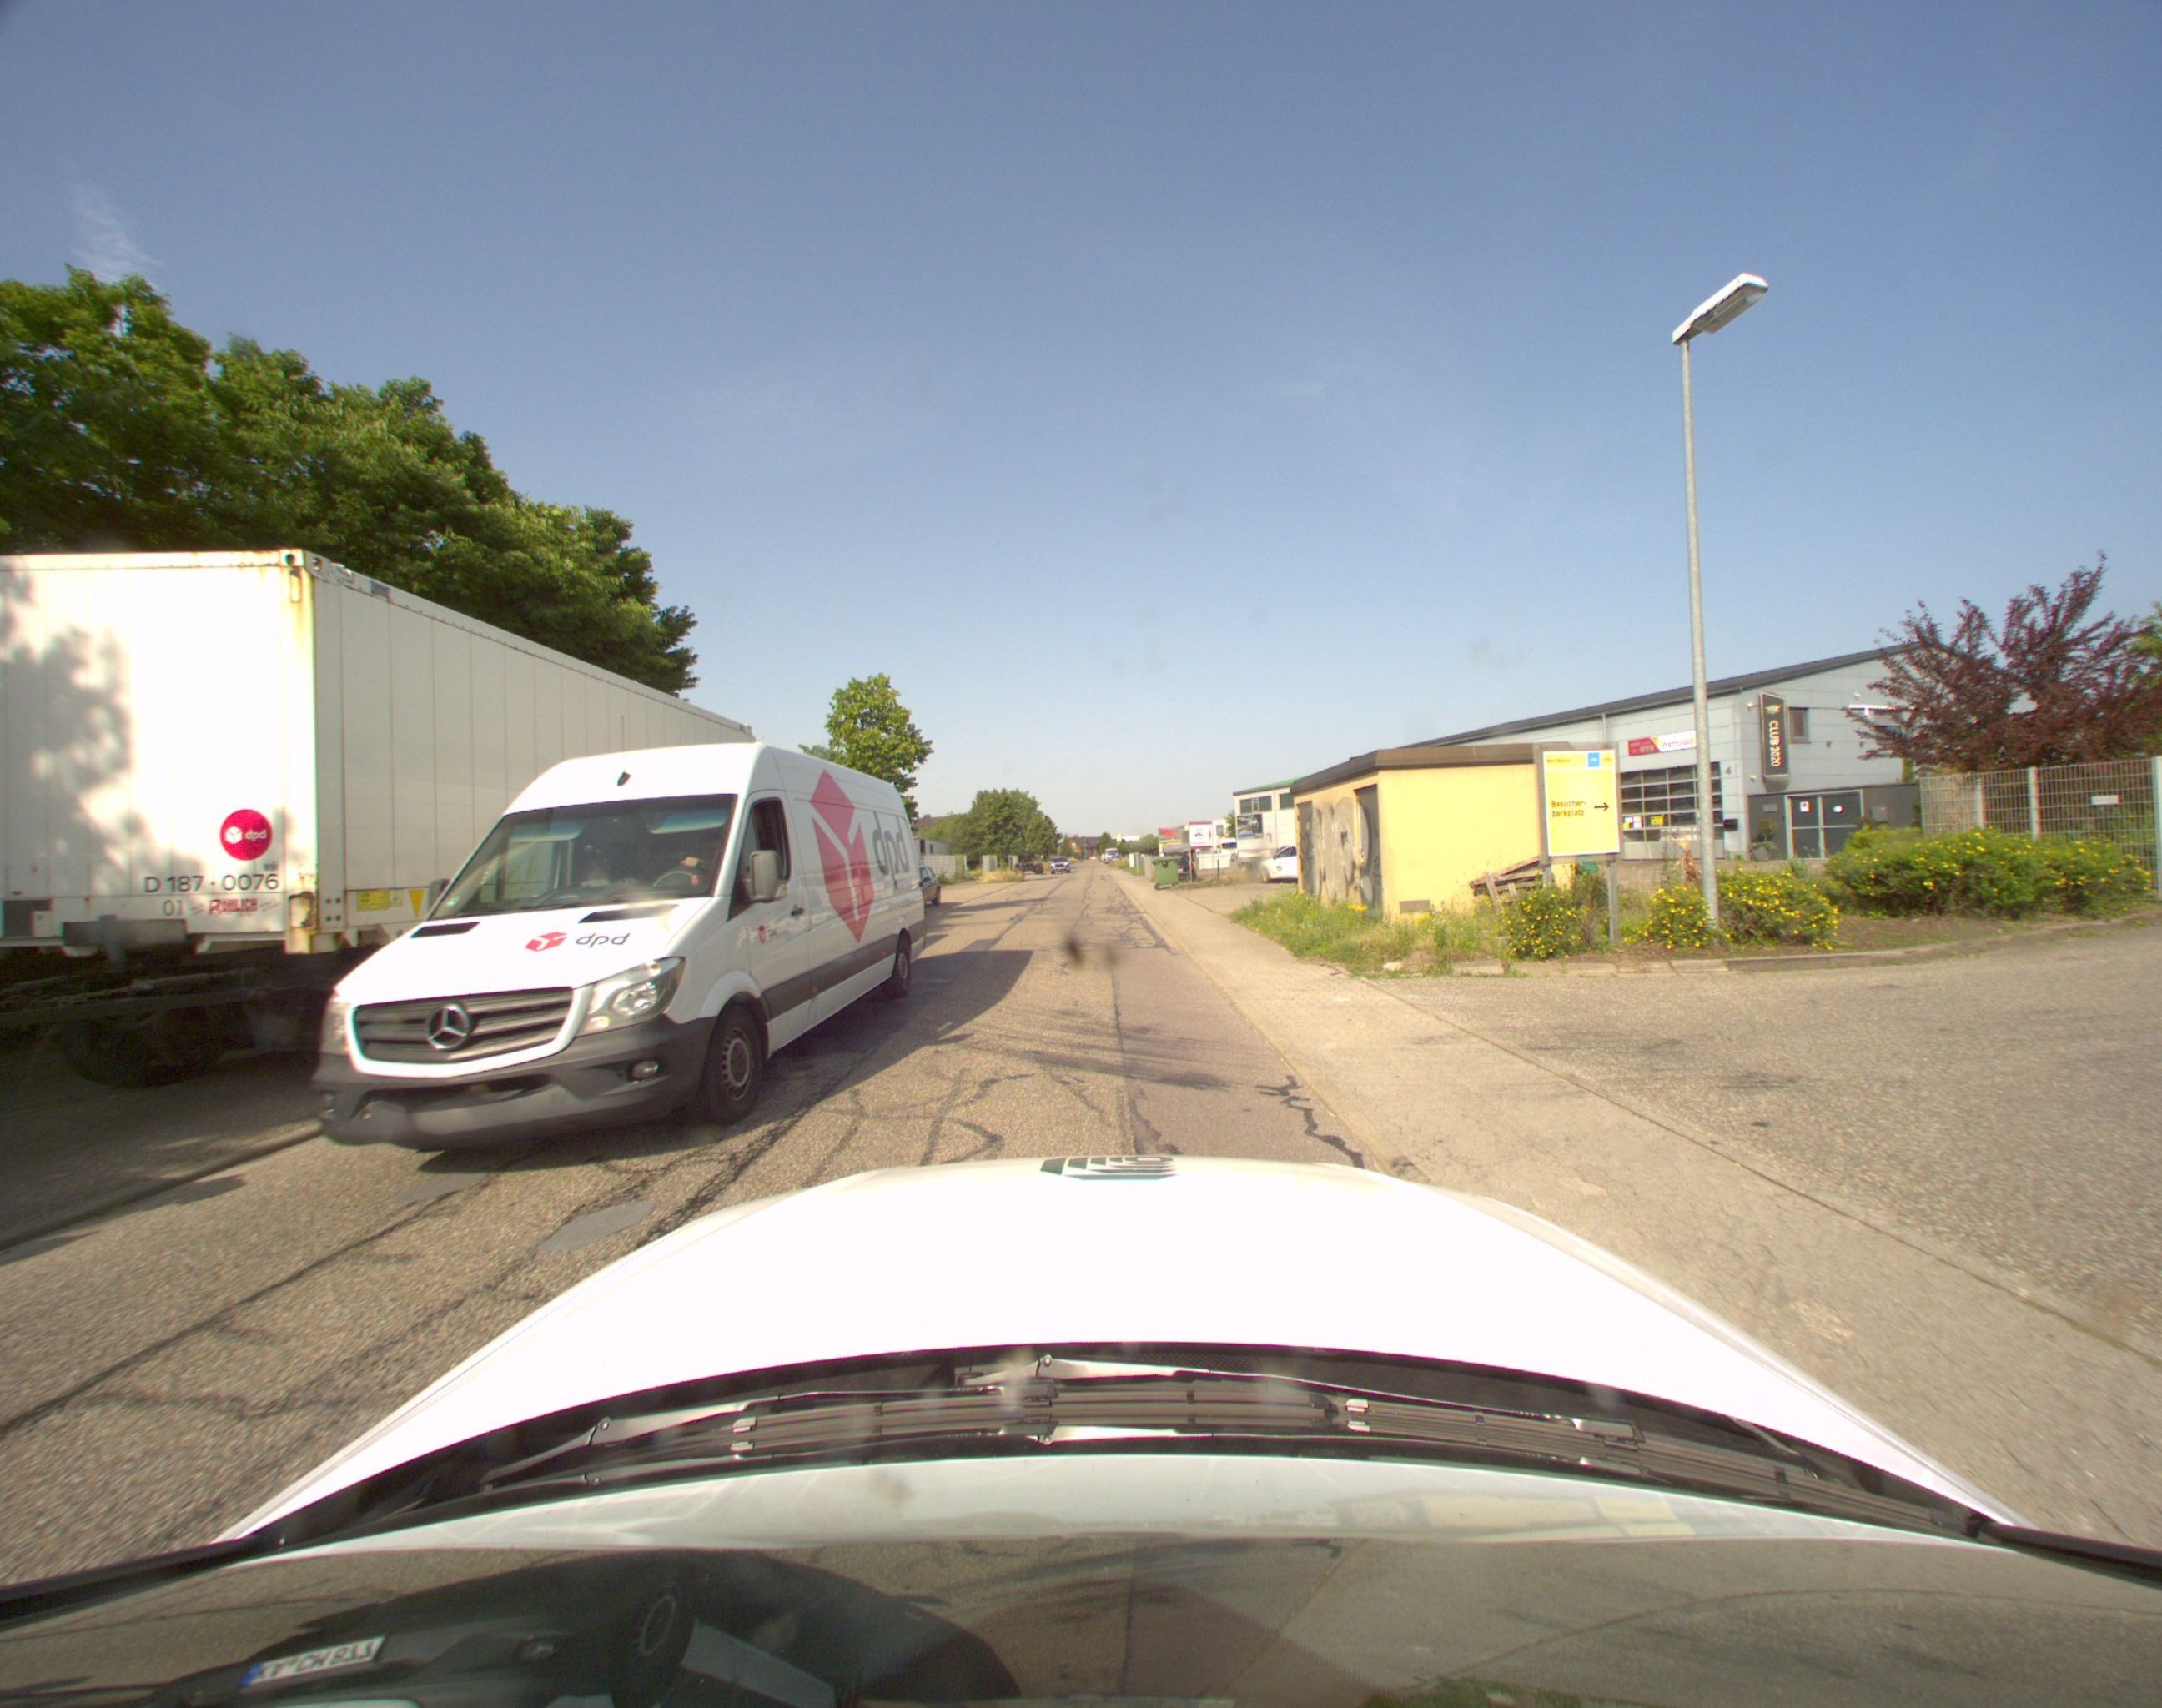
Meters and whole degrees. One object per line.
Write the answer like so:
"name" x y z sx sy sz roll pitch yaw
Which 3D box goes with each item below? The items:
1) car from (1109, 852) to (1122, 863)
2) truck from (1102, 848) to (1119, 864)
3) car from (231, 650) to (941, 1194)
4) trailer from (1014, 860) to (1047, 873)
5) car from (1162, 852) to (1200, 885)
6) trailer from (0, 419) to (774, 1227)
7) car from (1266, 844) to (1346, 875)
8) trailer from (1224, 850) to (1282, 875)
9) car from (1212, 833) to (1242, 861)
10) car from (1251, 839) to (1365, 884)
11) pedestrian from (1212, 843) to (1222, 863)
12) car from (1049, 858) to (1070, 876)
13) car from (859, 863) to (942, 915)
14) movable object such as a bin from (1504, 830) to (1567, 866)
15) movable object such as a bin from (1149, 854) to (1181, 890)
"car" 4.956 0.493 117.401 1.788 1.517 4.424 -3 0 0
"truck" 5.035 0.331 141.170 2.354 2.681 6.504 -3 0 -3
"car" -3.032 0.325 7.491 1.986 2.547 6.991 -4 0 1
"trailer" -4.944 1.198 81.568 2.574 1.184 9.363 -1 0 1
"car" 4.739 0.653 39.065 1.665 1.368 4.400 -3 0 6
"trailer" -6.468 -0.125 8.416 2.690 3.884 9.766 -1 0 1
"car" 11.798 0.303 43.008 1.647 1.466 4.426 -3 0 -23
"trailer" 9.007 0.435 42.774 1.497 1.248 2.952 -1 0 -25
"car" 15.102 -0.680 84.622 1.967 2.705 5.880 -3 0 0
"car" 8.223 0.296 29.919 1.695 1.466 4.229 -3 0 -23
"pedestrian" 11.615 -0.086 69.549 0.698 1.640 0.751 -3 0 12
"car" -2.091 1.238 80.029 1.806 1.627 4.249 -3 0 0
"car" -6.000 1.121 27.512 1.681 1.470 4.095 -3 0 2
"movable object such as a bin" 18.123 -0.211 32.510 1.000 1.345 1.994 -3 0 -21
"movable object such as a bin" 3.396 0.708 33.178 1.077 1.353 1.506 -5 0 1
